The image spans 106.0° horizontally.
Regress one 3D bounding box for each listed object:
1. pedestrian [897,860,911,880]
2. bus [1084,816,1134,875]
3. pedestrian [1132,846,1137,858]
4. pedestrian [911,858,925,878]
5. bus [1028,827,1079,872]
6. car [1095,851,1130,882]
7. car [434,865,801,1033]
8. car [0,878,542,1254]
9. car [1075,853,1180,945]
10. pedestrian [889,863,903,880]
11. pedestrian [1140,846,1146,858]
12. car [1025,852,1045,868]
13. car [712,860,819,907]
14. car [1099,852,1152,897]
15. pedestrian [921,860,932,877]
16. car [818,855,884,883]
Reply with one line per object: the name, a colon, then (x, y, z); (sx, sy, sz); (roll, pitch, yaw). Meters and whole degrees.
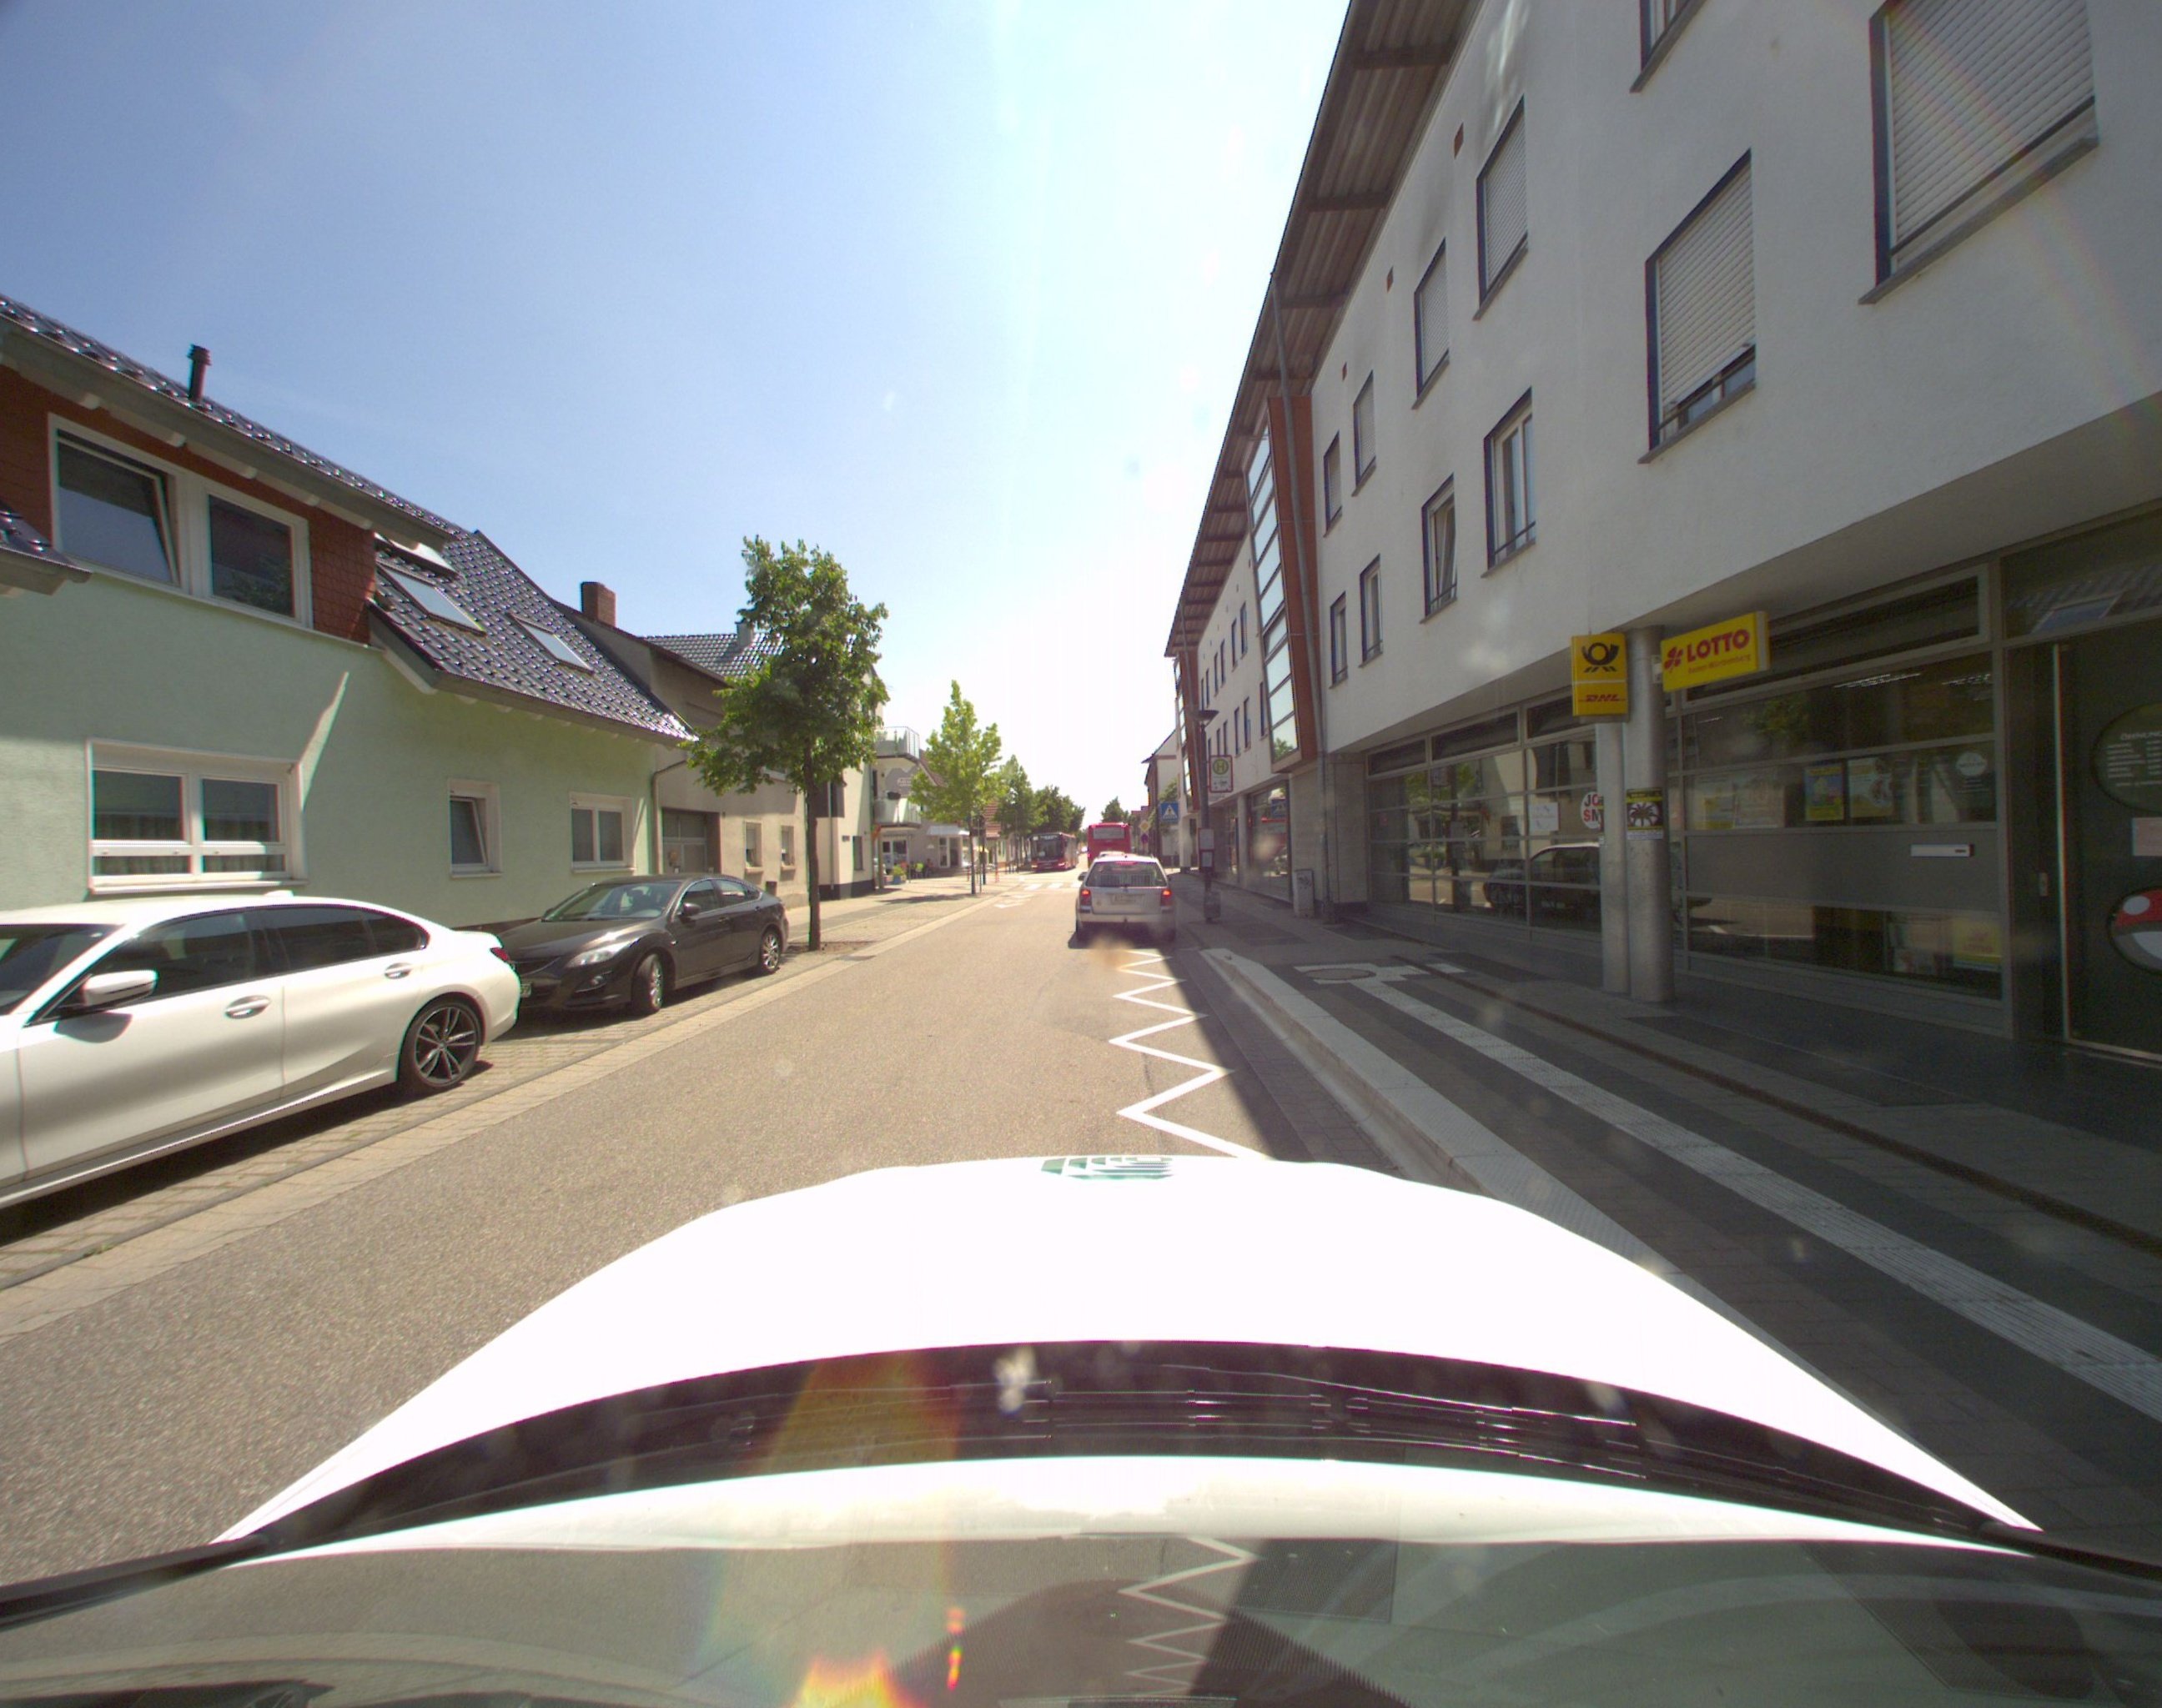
pedestrian: (-11.778, 1.045, 54.175); (0.639, 1.289, 0.780); (1, 0, -42)
bus: (1.623, -0.489, 52.673); (2.731, 3.298, 12.704); (-1, 0, 0)
pedestrian: (7.283, -0.271, 110.751); (0.604, 1.667, 0.789); (-2, 0, 0)
pedestrian: (-10.785, 0.921, 53.904); (0.639, 1.289, 0.780); (1, 0, -42)
bus: (-2.068, -0.395, 68.701); (2.658, 3.123, 17.820); (-3, 0, 3)
car: (1.558, 0.563, 39.822); (1.587, 1.430, 3.682); (-1, 0, 2)
car: (-5.122, 0.925, 9.889); (1.654, 1.436, 4.541); (-2, 0, 2)
car: (-5.308, 0.948, 4.390); (1.714, 1.437, 4.461); (-1, 0, 1)
car: (0.789, 0.712, 14.791); (1.671, 1.430, 3.681); (0, 0, 1)
pedestrian: (-12.127, 1.122, 53.386); (0.639, 1.116, 0.780); (1, 0, -42)
pedestrian: (8.233, -0.271, 108.063); (0.604, 1.667, 0.789); (-2, 0, 0)
car: (-4.434, 0.573, 78.710); (1.599, 1.438, 4.066); (-2, 0, 1)
car: (-10.974, 1.008, 28.499); (3.108, 1.443, 1.585); (-2, 0, -4)
car: (1.475, 0.651, 27.993); (1.671, 1.430, 3.681); (-1, 0, 1)
pedestrian: (-10.450, 0.980, 55.204); (0.620, 1.179, 0.696); (-2, 0, -3)
car: (-14.613, 0.945, 51.791); (3.923, 1.545, 1.510); (-2, 2, -16)
